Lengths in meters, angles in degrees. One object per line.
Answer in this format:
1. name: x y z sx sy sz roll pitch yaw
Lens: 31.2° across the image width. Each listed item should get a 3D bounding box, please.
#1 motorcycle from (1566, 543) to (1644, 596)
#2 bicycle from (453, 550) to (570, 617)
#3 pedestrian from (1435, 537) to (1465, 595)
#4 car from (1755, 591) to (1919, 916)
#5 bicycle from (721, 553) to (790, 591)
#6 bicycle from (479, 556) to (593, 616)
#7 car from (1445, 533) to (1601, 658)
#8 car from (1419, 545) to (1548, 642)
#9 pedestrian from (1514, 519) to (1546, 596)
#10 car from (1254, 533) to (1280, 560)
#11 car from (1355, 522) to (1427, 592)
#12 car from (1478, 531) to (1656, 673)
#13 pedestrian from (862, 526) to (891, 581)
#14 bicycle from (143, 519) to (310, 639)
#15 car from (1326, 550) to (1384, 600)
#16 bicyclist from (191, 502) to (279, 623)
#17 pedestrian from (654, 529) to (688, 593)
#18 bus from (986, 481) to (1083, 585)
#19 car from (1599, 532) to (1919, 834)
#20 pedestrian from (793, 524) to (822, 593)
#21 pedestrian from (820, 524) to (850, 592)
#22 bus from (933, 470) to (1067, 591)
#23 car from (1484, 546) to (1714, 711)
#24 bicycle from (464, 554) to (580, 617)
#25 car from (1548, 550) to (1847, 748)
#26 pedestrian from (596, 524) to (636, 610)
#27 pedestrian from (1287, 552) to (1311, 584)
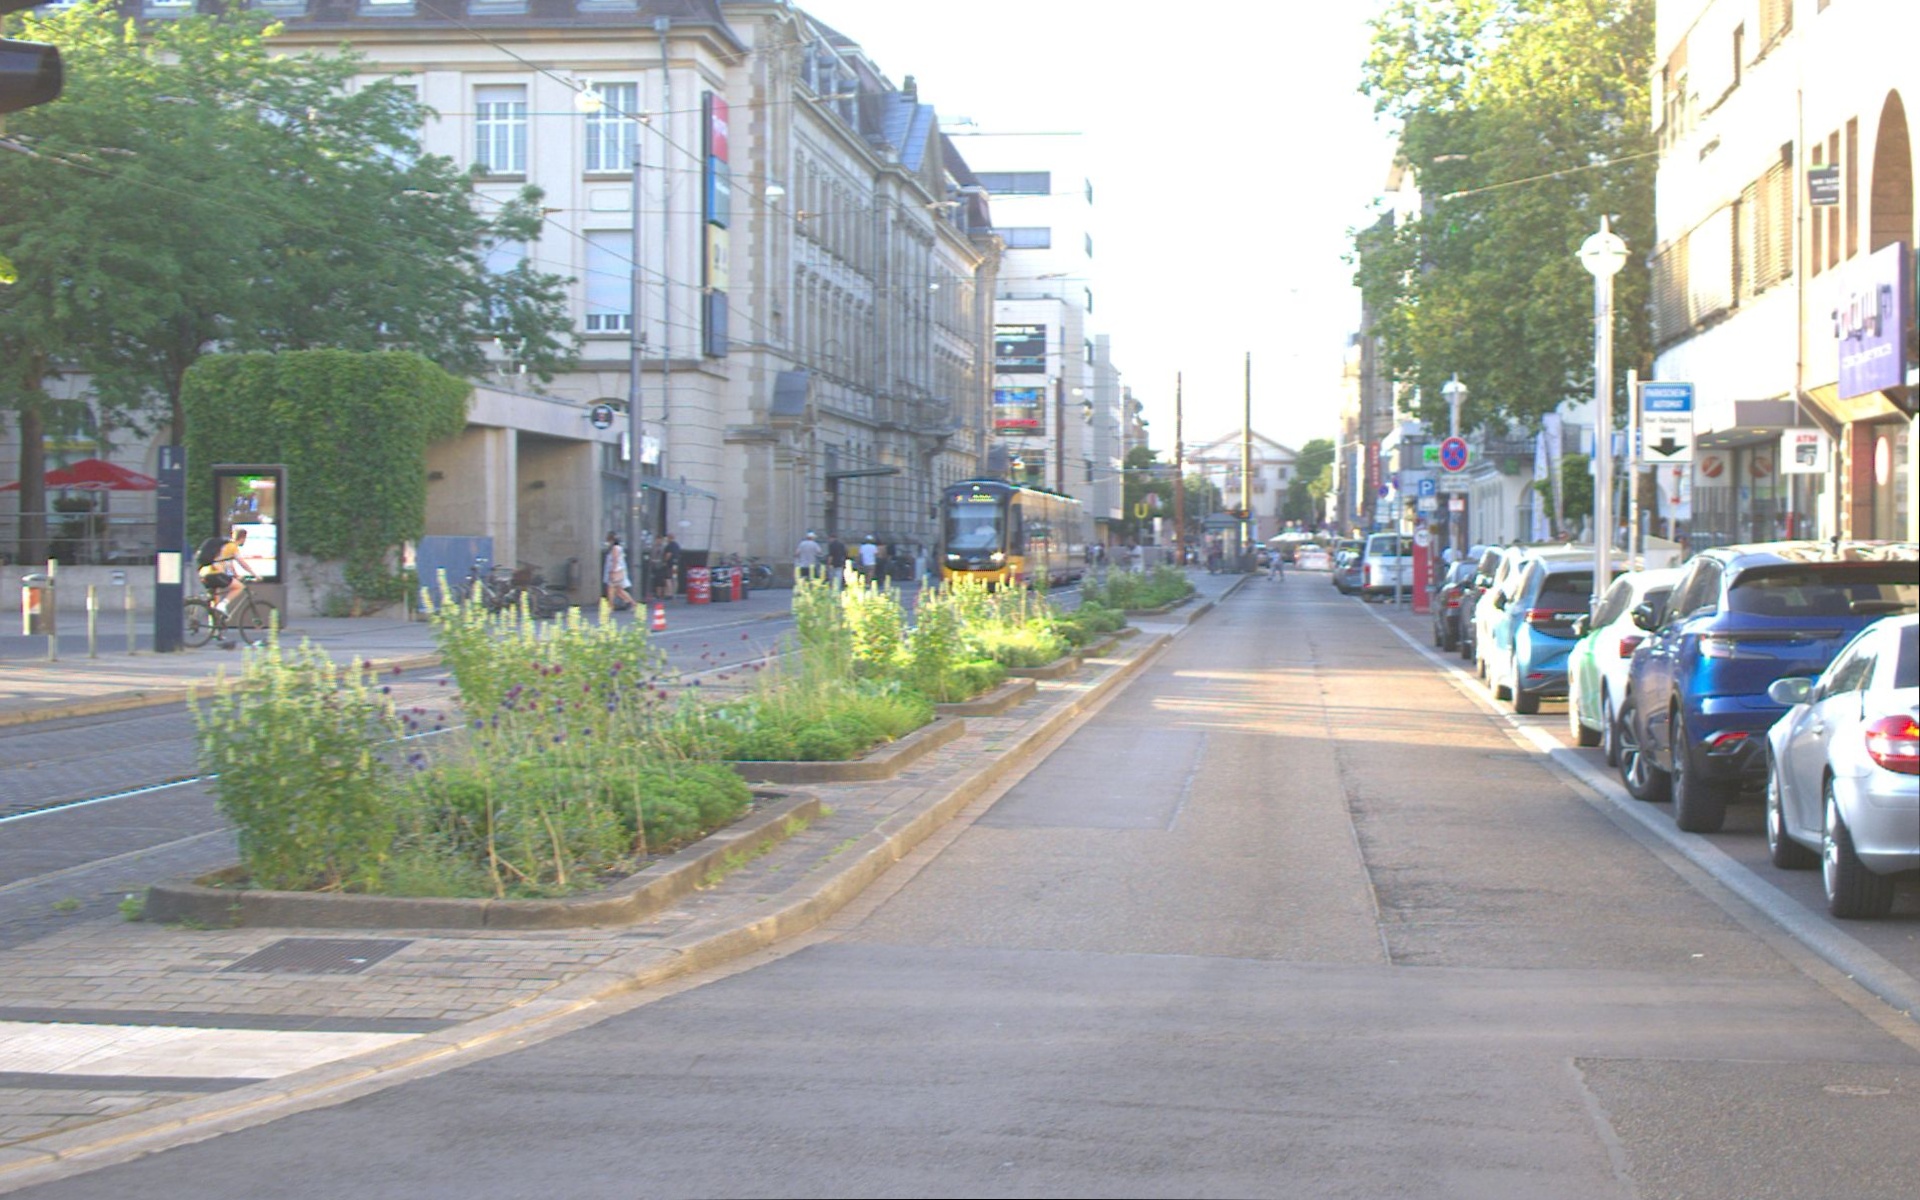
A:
1. motorcycle: 14.104 -0.674 75.252 0.564 1.141 2.297 1 1 -20
2. bicycle: -8.826 -0.323 67.619 2.197 1.296 0.579 0 -1 6
3. pedestrian: 15.088 -1.046 105.869 0.786 1.745 0.895 0 -1 -1
4. car: 4.664 0.613 15.691 1.674 1.278 4.062 0 0 8
5. bicycle: -6.311 -0.855 106.074 2.097 1.144 0.574 0 -1 1
6. bicycle: -8.736 -0.287 70.826 2.242 1.227 0.585 0 0 6
7. car: 7.647 -0.107 47.017 1.776 1.533 4.578 0 2 5
8. car: 8.201 -0.125 54.154 1.655 1.375 4.340 -3 1 5
9. pedestrian: 12.804 -0.957 77.253 0.678 1.711 0.654 0 -1 8
10. car: 21.396 -3.721 239.278 1.761 1.821 3.569 0 -1 6
11. car: 12.386 -1.228 98.915 1.915 1.975 4.420 0 0 6
12. car: 7.204 -0.017 41.165 1.817 1.580 4.722 1 1 7
13. pedestrian: -2.610 -1.463 107.903 0.815 1.701 0.761 0 -1 6
14. bicycle: -10.813 -0.314 50.745 2.361 1.734 0.603 0 1 -38
15. car: 14.195 -0.905 123.751 1.994 1.755 4.420 0 0 6
16. bicyclist: -10.724 -0.558 50.847 0.929 1.770 0.970 -1 1 -38
17. pedestrian: -7.535 -1.020 89.679 0.714 1.640 0.660 1 1 -16
18. bus: 2.753 -2.452 124.493 2.823 3.612 8.288 0 1 6
19. car: 4.897 0.405 20.414 1.765 1.599 4.287 0 1 5
20. pedestrian: -4.164 -1.131 93.668 0.693 1.841 0.661 0 -1 6
21. pedestrian: -3.402 -1.144 93.709 0.733 1.834 0.714 0 -1 6
22. bus: 1.459 -2.221 111.886 2.823 3.639 17.069 0 1 6
23. car: 6.407 0.233 34.932 1.809 1.546 4.835 0 1 5
24. bicycle: -8.802 -0.285 69.152 2.242 1.250 0.579 0 -1 6
25. car: 5.699 0.370 27.002 1.731 1.430 4.151 0 0 4
26. pedestrian: -7.743 -0.741 77.394 0.724 1.928 0.792 0 -1 9
27. pedestrian: 21.067 -1.999 213.757 1.229 1.922 1.022 1 1 -10
